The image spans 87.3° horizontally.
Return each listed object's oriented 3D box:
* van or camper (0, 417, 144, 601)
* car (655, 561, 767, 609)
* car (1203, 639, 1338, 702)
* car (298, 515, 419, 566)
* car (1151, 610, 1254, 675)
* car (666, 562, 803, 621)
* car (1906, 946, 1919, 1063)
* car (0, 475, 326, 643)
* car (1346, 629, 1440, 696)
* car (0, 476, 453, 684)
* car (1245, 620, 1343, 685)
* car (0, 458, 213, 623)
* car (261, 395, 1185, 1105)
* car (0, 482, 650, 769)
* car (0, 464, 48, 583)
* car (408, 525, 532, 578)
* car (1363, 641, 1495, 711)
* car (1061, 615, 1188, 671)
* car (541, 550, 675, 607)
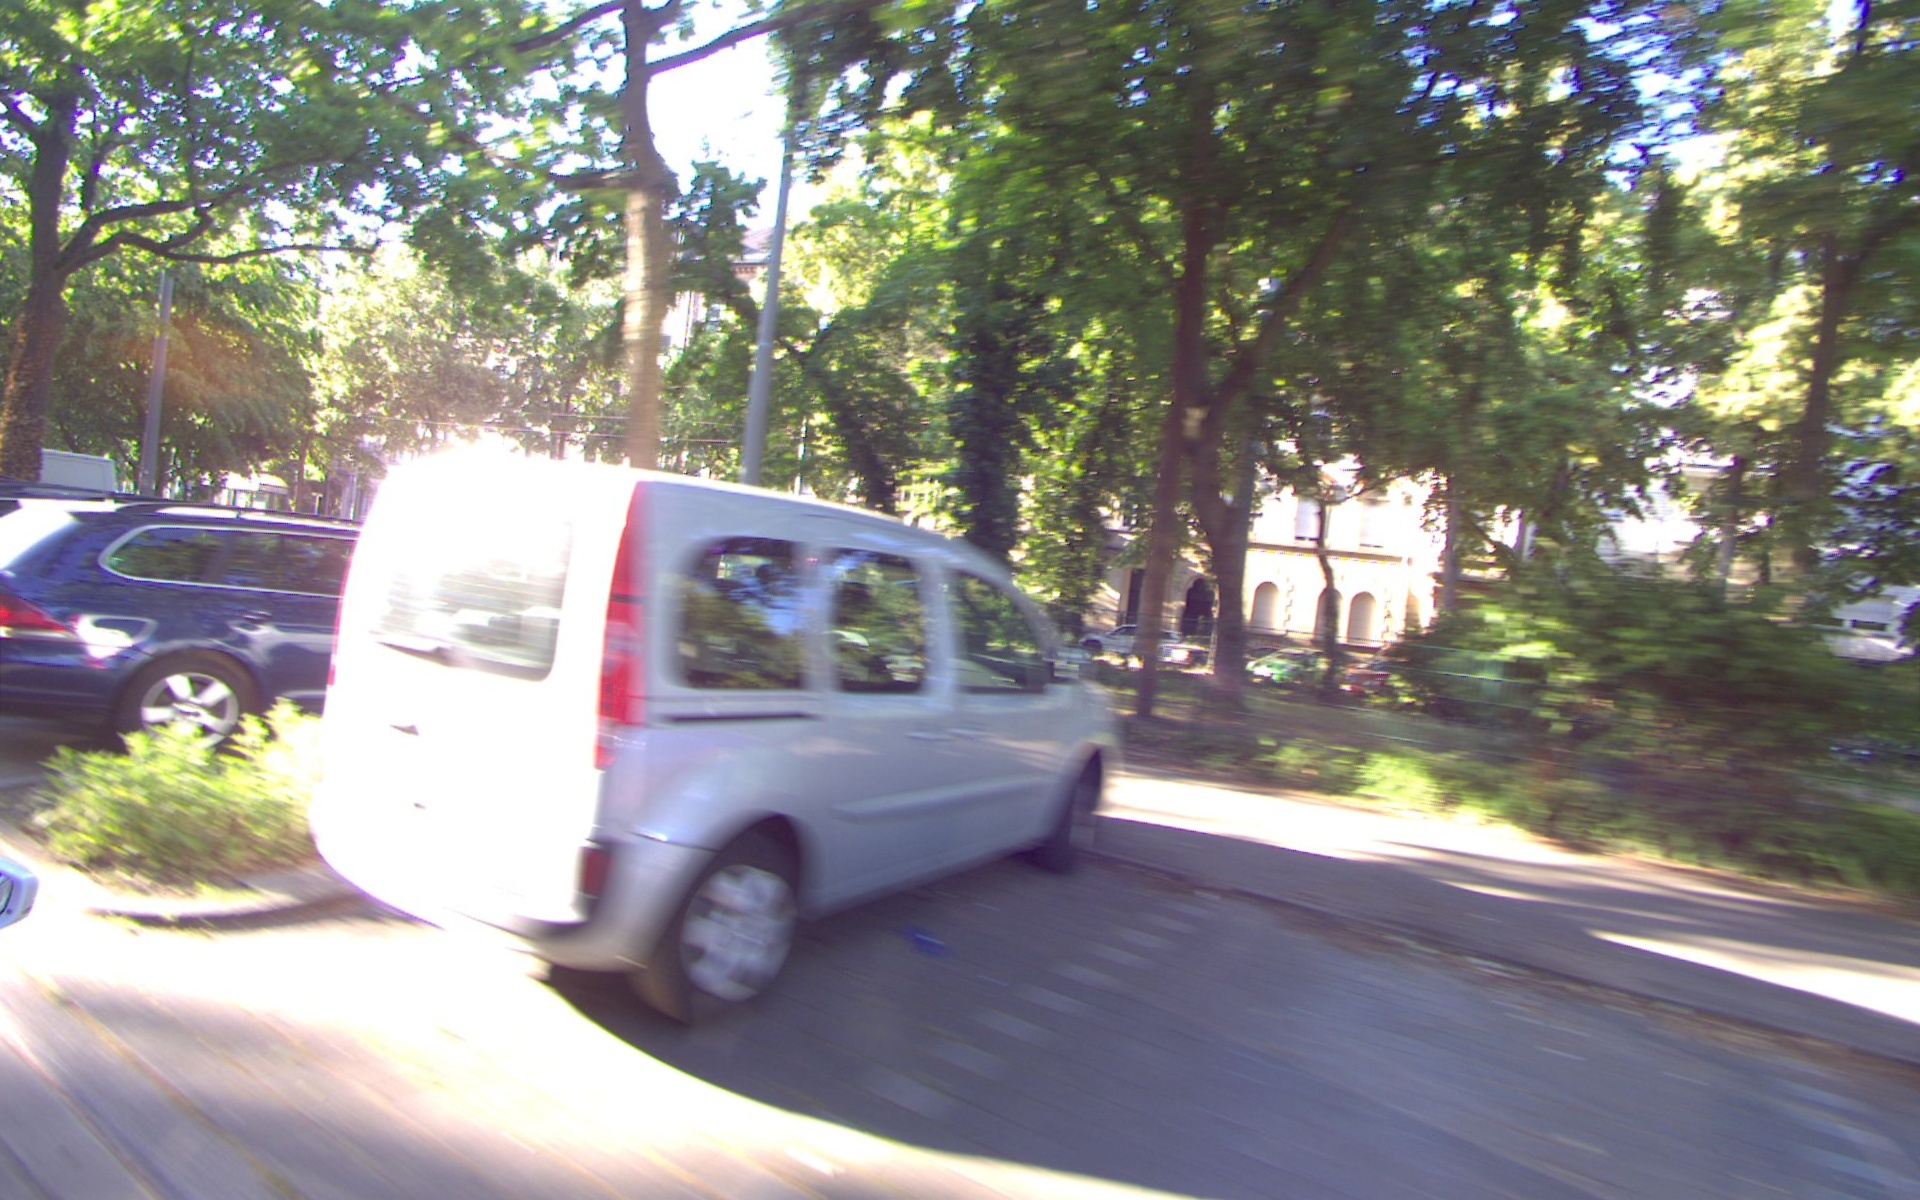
[{"bbox_3d":[-14.747,-1.496,13.755,2.148,2.404,4.992,5,-2,30],"label":"van or camper"},{"bbox_3d":[-11.803,-0.690,47.710,4.650,1.706,2.002,6,-2,18],"label":"car"},{"bbox_3d":[11.859,2.678,38.530,4.650,1.848,2.002,6,-2,18],"label":"car"},{"bbox_3d":[-28.367,-2.759,47.487,4.673,1.703,1.982,8,-2,-36],"label":"car"},{"bbox_3d":[7.908,1.416,32.570,1.967,1.703,3.994,5,-3,32],"label":"car"},{"bbox_3d":[-8.730,-0.307,39.090,4.672,1.703,1.982,8,-2,-35],"label":"car"},{"bbox_3d":[3.769,1.148,1.963,1.732,1.461,4.085,7,1,30],"label":"car"},{"bbox_3d":[-8.980,-0.435,10.089,1.829,1.480,3.988,7,1,33],"label":"car"},{"bbox_3d":[13.366,1.954,30.898,1.967,1.703,3.994,5,-3,32],"label":"car"},{"bbox_3d":[-6.917,-0.170,8.565,1.834,1.472,4.221,7,1,33],"label":"car"},{"bbox_3d":[10.706,1.706,32.056,1.967,1.703,3.994,5,-3,32],"label":"car"},{"bbox_3d":[-11.101,-0.758,11.226,1.829,1.713,3.988,7,1,33],"label":"car"},{"bbox_3d":[-0.580,0.422,4.898,1.733,1.888,4.220,7,1,33],"label":"car"},{"bbox_3d":[-4.505,0.156,7.086,1.623,1.472,4.217,7,1,36],"label":"car"},{"bbox_3d":[-16.829,-1.471,15.215,1.827,1.838,3.996,7,-1,29],"label":"car"},{"bbox_3d":[-22.088,-2.145,45.437,4.672,1.703,1.982,8,-2,-35],"label":"car"},{"bbox_3d":[16.956,2.732,36.588,3.925,2.037,2.002,6,-2,18],"label":"car"},{"bbox_3d":[6.629,1.723,40.430,4.650,1.706,2.002,6,-2,18],"label":"car"},{"bbox_3d":[-14.312,-0.848,41.017,4.672,1.703,1.982,8,-2,-35],"label":"car"}]
